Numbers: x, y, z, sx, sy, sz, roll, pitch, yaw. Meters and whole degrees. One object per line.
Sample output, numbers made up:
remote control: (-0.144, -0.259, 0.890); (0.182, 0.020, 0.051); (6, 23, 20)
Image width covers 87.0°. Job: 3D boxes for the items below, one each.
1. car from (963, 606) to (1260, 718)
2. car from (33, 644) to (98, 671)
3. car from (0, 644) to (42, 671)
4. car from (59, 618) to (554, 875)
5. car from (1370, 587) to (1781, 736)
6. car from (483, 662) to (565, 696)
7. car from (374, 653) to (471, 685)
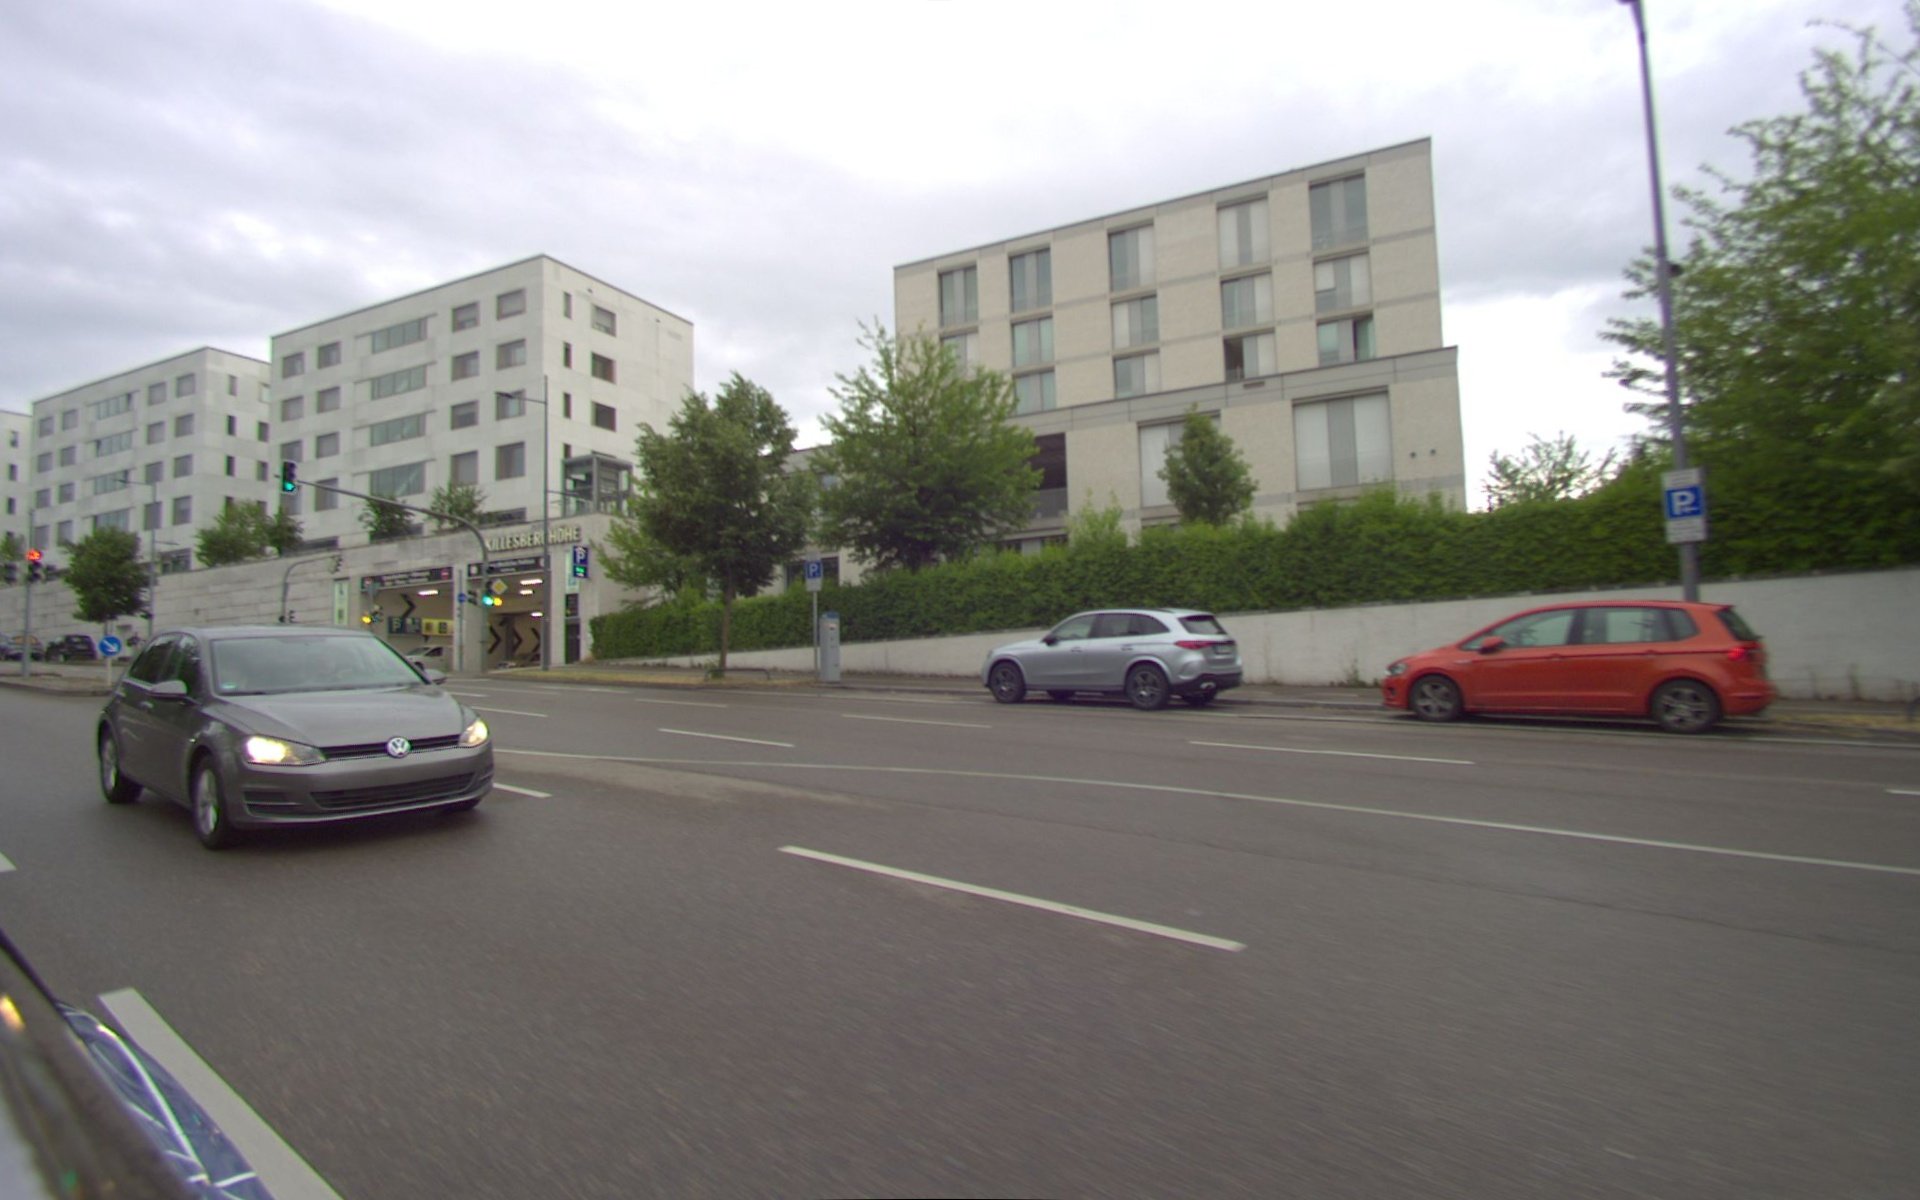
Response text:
car: (2.465, 1.010, 17.430); (4.882, 1.666, 1.745); (-3, -2, 42)
car: (-49.612, 3.188, 56.132); (2.679, 1.470, 1.668); (-1, -4, 24)
car: (-55.037, 3.306, 58.232); (3.976, 1.489, 1.848); (-1, -3, 24)
car: (-5.173, 0.922, 7.809); (4.289, 1.452, 1.854); (-2, -3, 37)
car: (7.670, 0.760, 12.883); (4.215, 1.599, 1.647); (-3, -4, 42)
car: (-24.388, 4.391, 56.694); (1.791, 1.785, 3.963); (-1, -4, 27)
car: (-29.036, 3.723, 54.770); (1.988, 1.664, 4.311); (-1, -4, 24)
